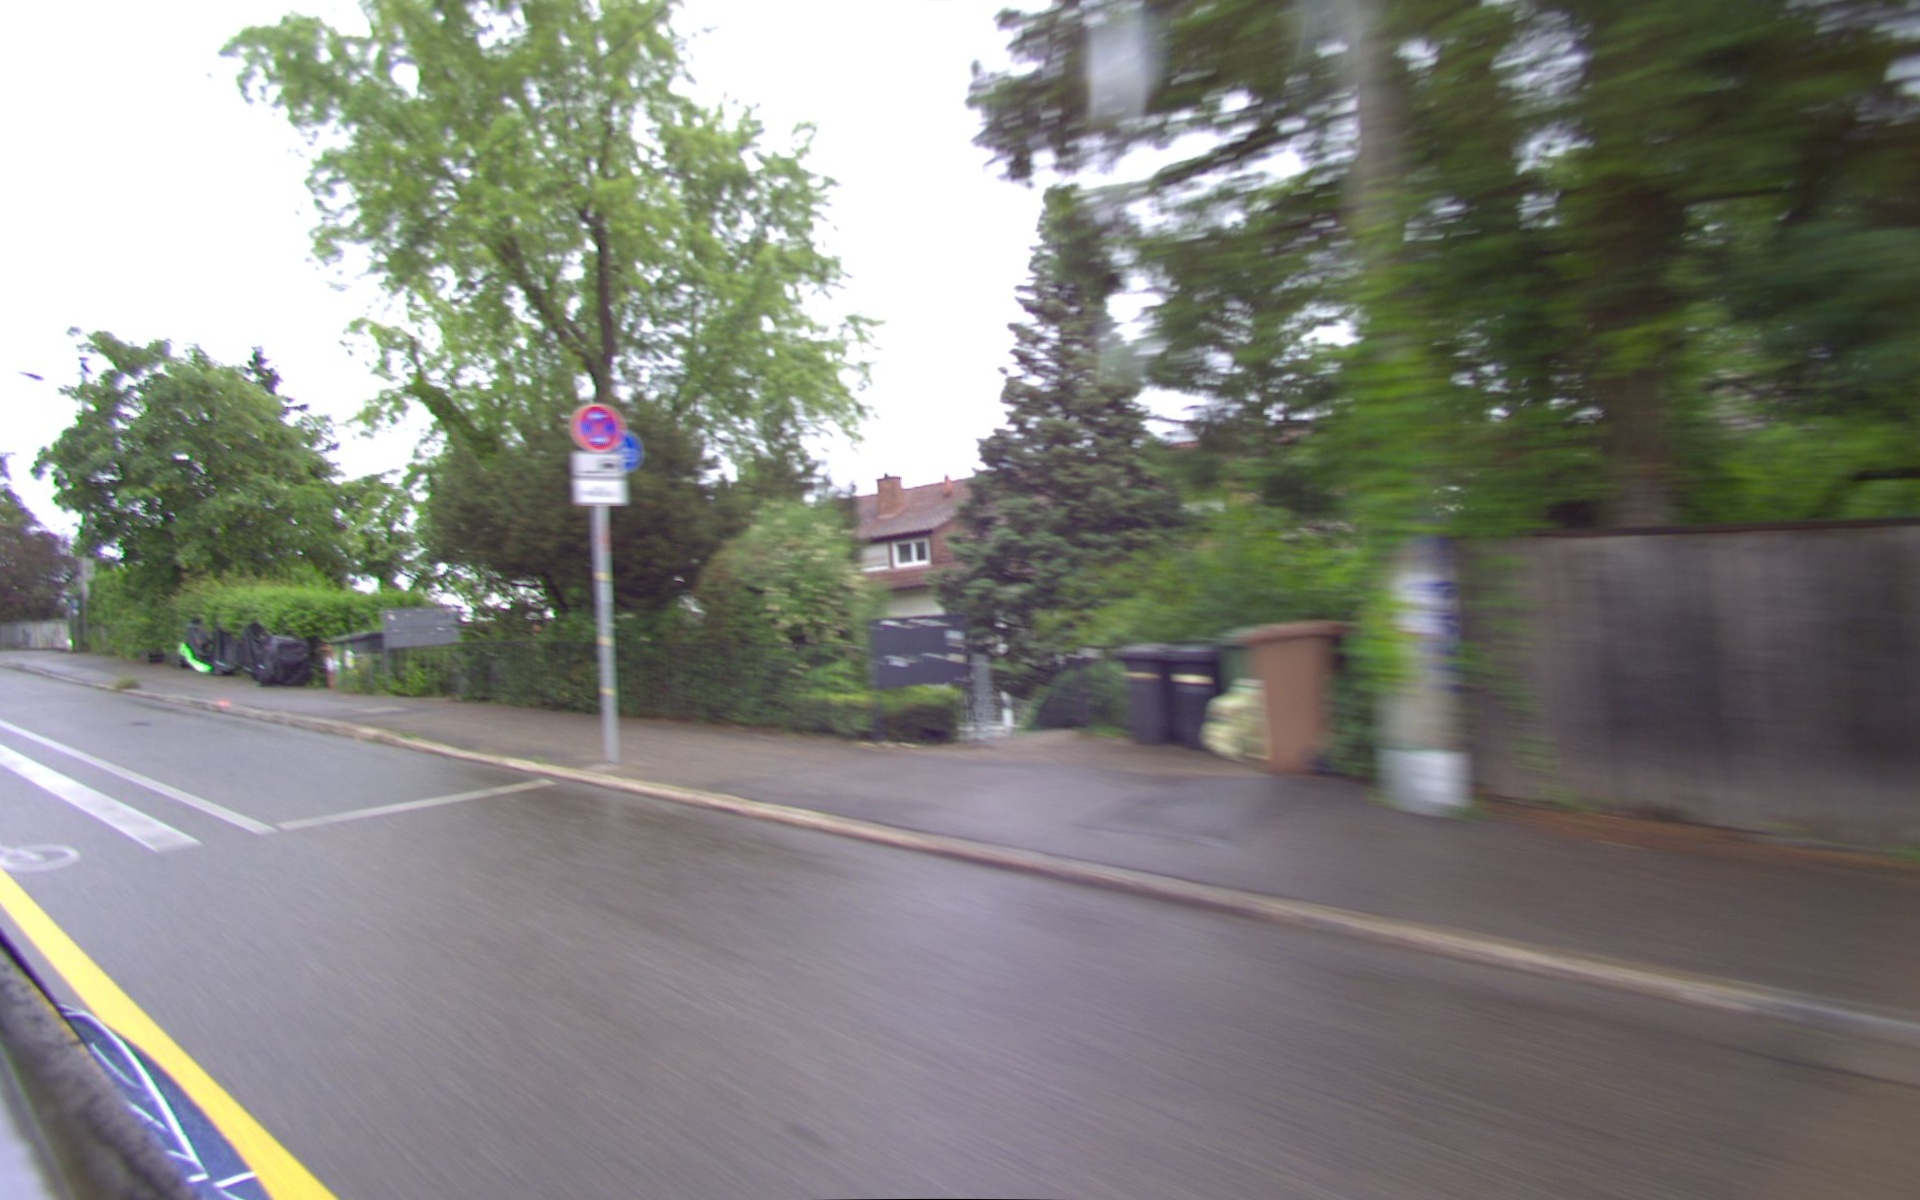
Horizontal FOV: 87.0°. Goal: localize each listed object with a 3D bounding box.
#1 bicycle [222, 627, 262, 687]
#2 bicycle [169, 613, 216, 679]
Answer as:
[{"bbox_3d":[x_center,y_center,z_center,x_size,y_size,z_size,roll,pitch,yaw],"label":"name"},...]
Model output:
[{"bbox_3d":[-14.182,1.108,19.980,1.255,1.116,0.334,0,0,39],"label":"bicycle"},{"bbox_3d":[-16.734,0.981,22.065,1.741,1.359,0.416,0,0,39],"label":"bicycle"}]
